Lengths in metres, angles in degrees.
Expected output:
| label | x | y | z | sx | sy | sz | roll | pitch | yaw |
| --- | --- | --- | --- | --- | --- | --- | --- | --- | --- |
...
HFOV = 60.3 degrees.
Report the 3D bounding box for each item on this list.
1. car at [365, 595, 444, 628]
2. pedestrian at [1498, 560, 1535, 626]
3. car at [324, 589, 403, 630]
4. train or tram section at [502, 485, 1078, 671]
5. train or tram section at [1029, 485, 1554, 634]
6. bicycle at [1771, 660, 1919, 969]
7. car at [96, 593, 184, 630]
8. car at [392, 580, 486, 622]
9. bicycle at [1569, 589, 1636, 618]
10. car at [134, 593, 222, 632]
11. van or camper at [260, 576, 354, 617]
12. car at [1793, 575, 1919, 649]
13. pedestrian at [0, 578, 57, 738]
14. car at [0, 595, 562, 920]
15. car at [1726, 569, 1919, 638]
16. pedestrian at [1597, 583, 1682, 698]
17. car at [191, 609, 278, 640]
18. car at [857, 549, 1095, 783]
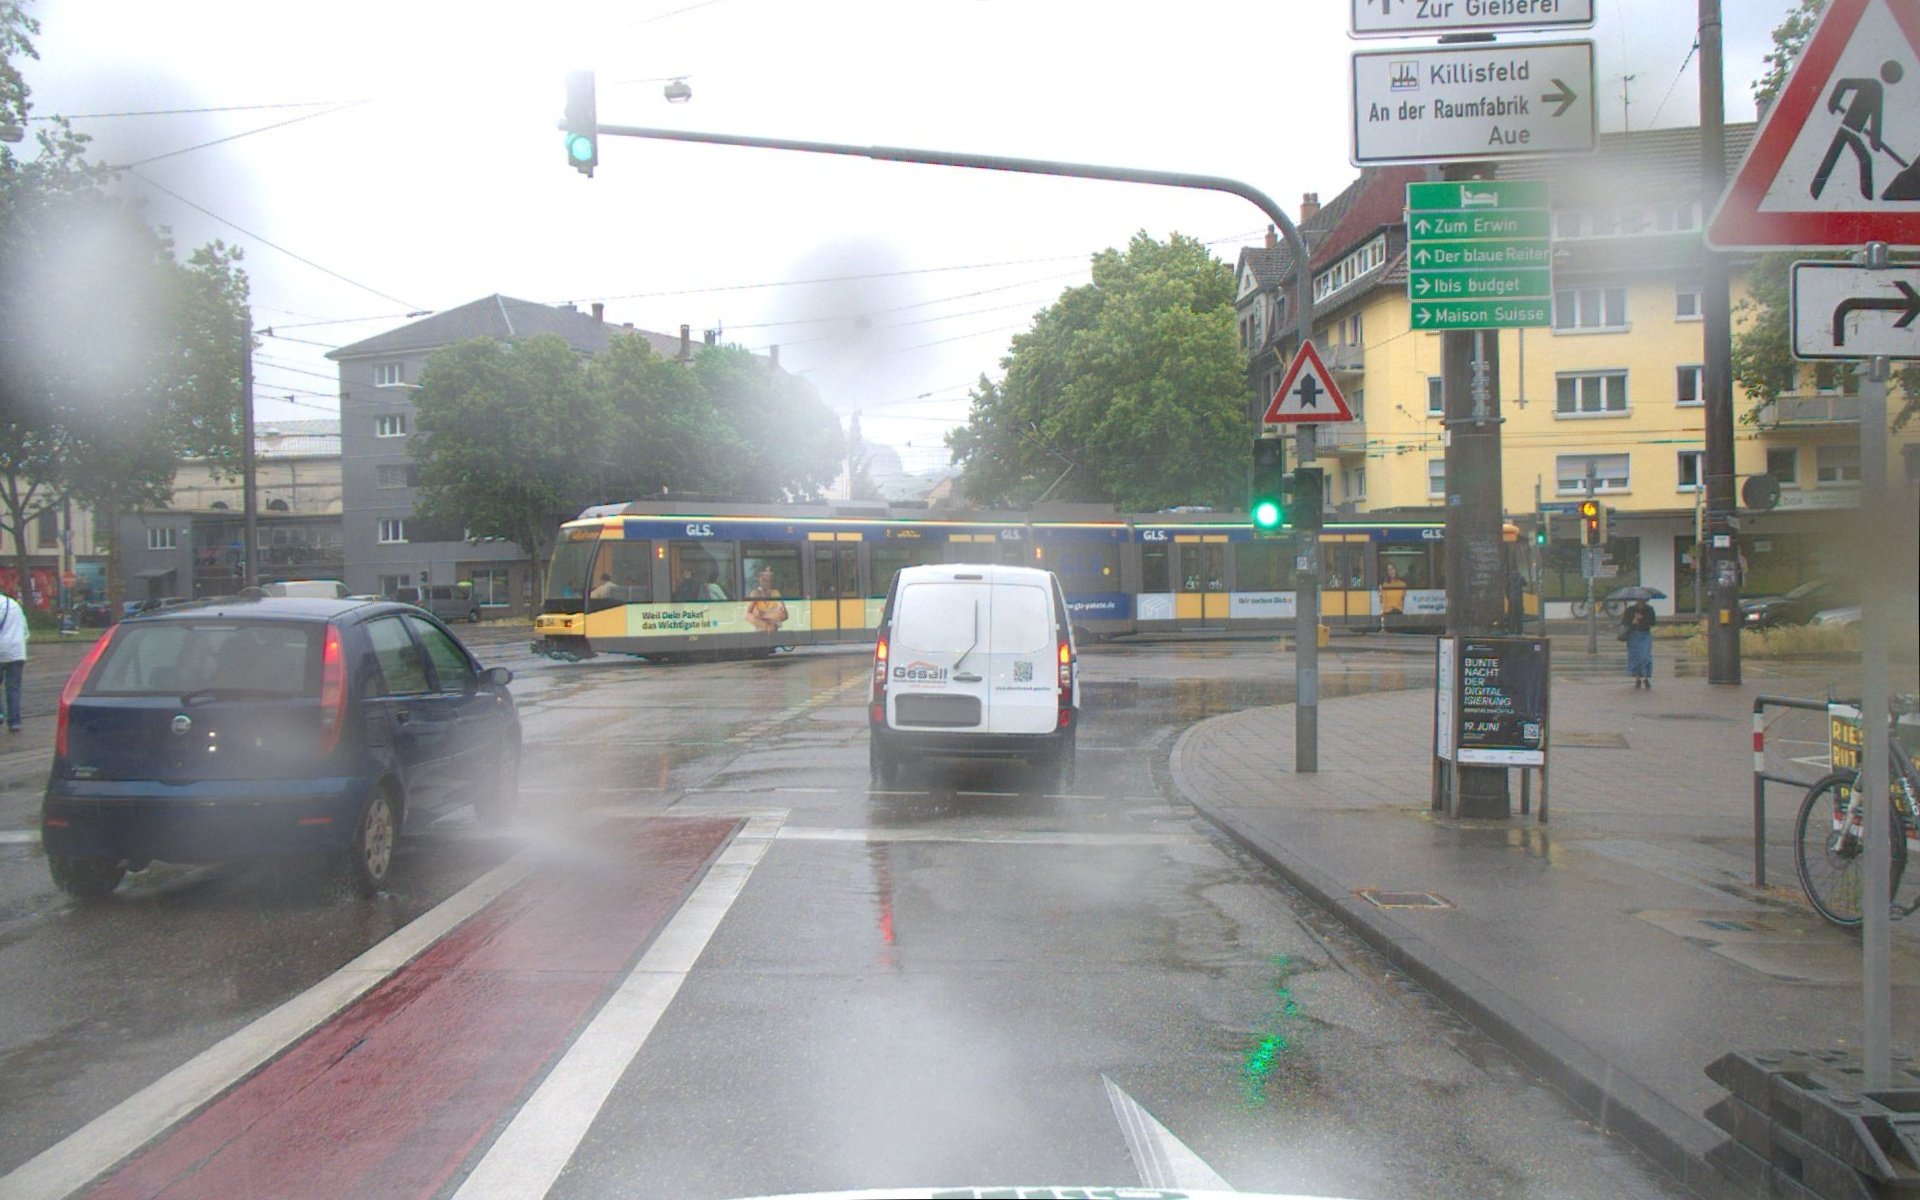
| label | x | y | z | sx | sy | sz | roll | pitch | yaw |
| --- | --- | --- | --- | --- | --- | --- | --- | --- | --- |
| car | -28.985 | 0.614 | 86.447 | 1.909 | 1.654 | 4.002 | 1 | 0 | 18 |
| pedestrian | 14.670 | -0.188 | 43.608 | 0.796 | 1.706 | 1.016 | 0 | 1 | 25 |
| car | -31.296 | 0.470 | 86.911 | 1.951 | 2.048 | 4.003 | 0 | 1 | 16 |
| train or tram section | -3.242 | -0.669 | 38.303 | 14.467 | 3.620 | 3.066 | -3 | 2 | -44 |
| train or tram section | 9.203 | -1.190 | 45.319 | 14.397 | 3.620 | 3.101 | -2 | 1 | -17 |
| bicycle | 4.130 | 0.910 | 6.998 | 0.413 | 1.188 | 1.792 | 2 | 1 | -2 |
| car | -45.555 | 0.615 | 91.938 | 1.958 | 1.962 | 3.989 | 1 | 1 | 33 |
| car | -26.637 | 0.026 | 84.686 | 2.022 | 2.048 | 4.391 | 1 | 1 | 29 |
| bicycle | 21.445 | 0.114 | 55.218 | 1.996 | 0.912 | 0.614 | -1 | 1 | 14 |
| car | -42.948 | 0.698 | 90.903 | 1.956 | 2.049 | 3.993 | 1 | 0 | 29 |
| van or camper | -34.278 | -0.163 | 86.968 | 1.953 | 2.111 | 4.654 | 0 | 0 | 22 |
| car | 20.759 | 0.237 | 35.995 | 4.390 | 1.515 | 1.742 | -1 | 1 | 13 |
| pedestrian | -9.993 | 0.597 | 17.400 | 0.728 | 1.638 | 0.707 | -1 | 1 | -39 |
| car | -3.677 | 0.735 | 9.484 | 1.844 | 1.485 | 3.831 | 0 | 0 | 0 |
| car | 20.663 | 0.068 | 39.188 | 4.179 | 1.528 | 1.881 | -1 | 1 | 8 |
| pedestrian | 10.371 | 0.599 | 25.278 | 1.079 | 1.696 | 0.998 | 0 | 1 | 16 |
| car | -39.034 | 1.323 | 89.048 | 1.953 | 1.642 | 3.998 | 0 | -1 | 24 |
| car | 0.202 | 0.523 | 14.994 | 1.864 | 1.829 | 4.114 | 0 | 0 | 2 |
